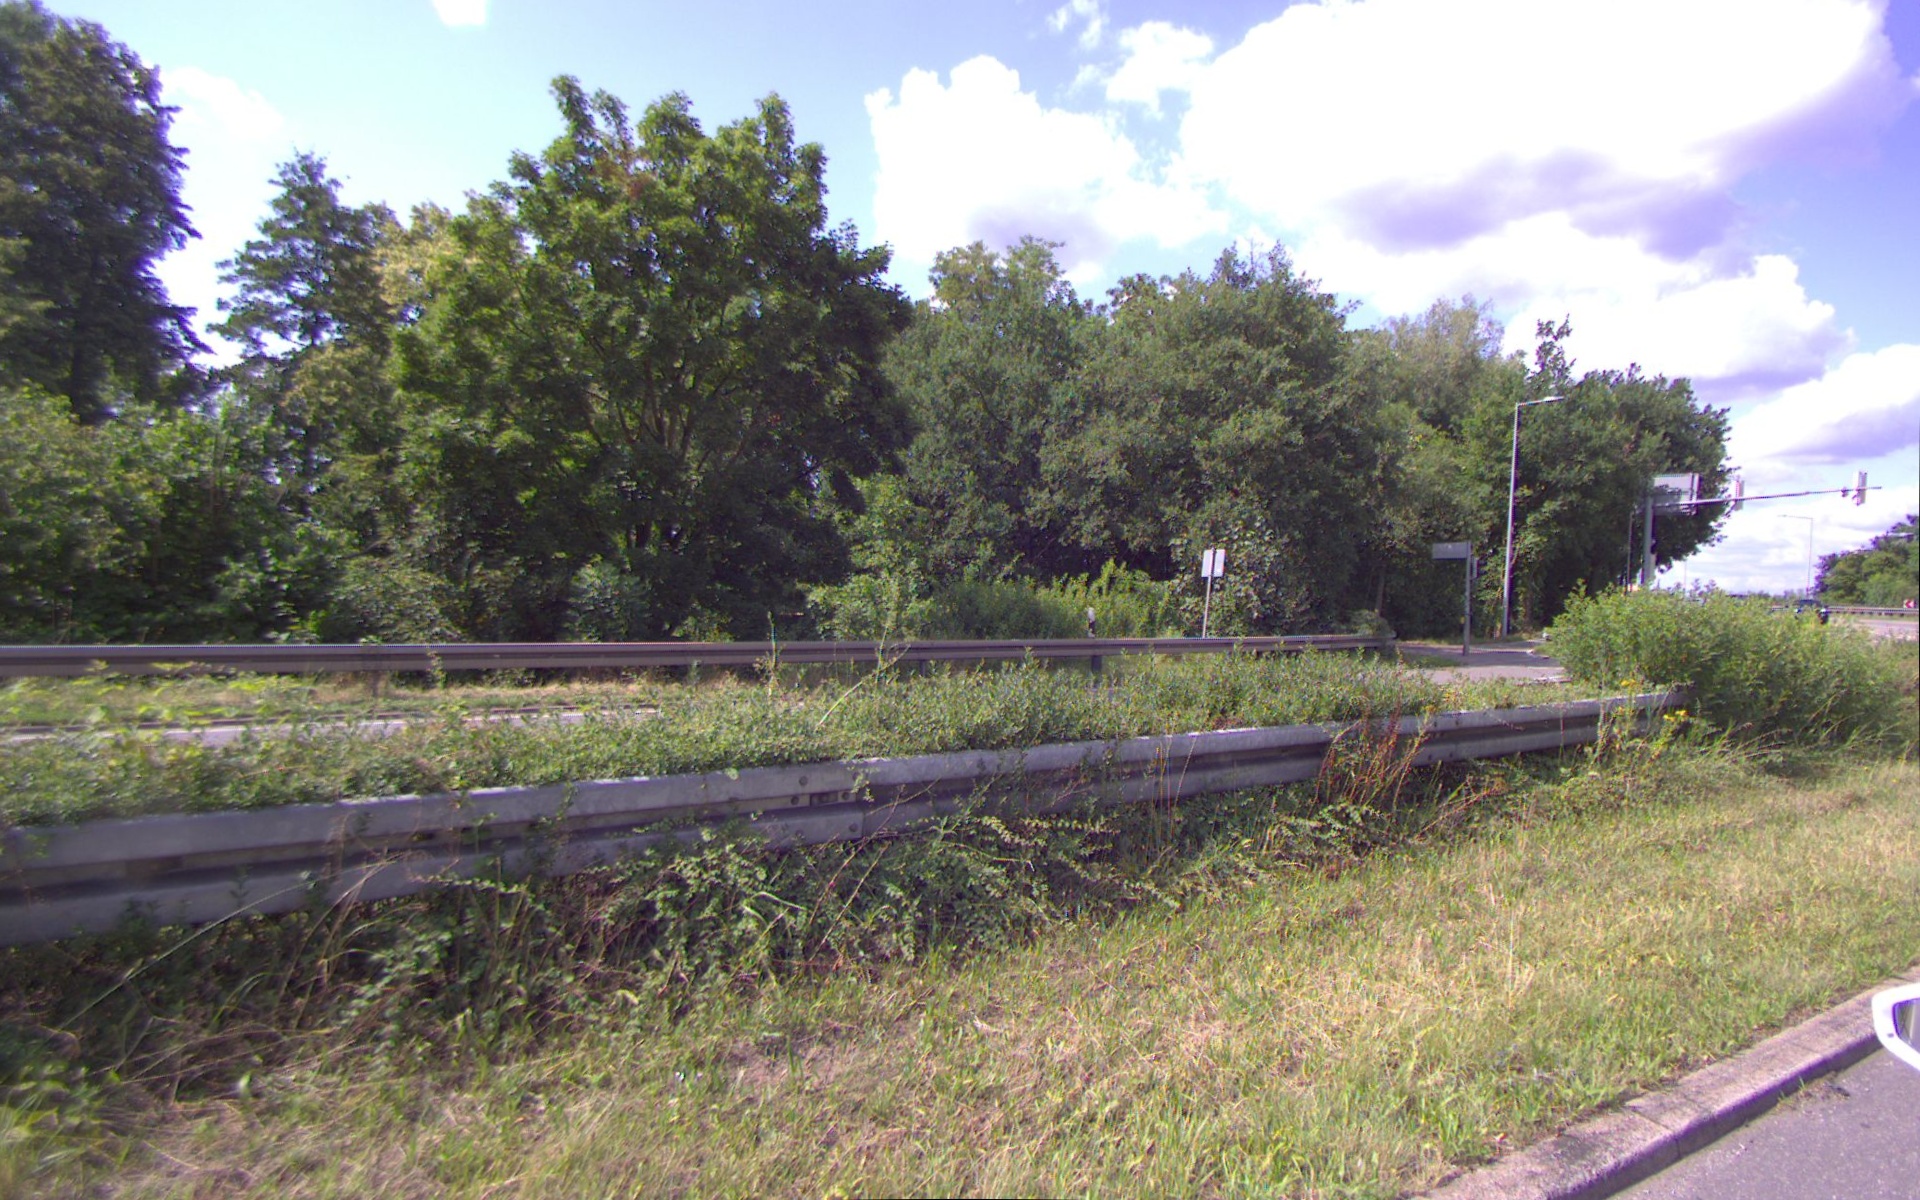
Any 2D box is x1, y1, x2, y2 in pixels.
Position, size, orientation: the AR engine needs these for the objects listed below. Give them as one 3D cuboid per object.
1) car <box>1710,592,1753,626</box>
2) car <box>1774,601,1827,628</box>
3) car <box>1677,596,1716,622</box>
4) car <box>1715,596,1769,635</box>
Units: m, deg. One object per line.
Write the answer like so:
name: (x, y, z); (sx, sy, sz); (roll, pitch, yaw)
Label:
car: (44.217, 0.491, 57.650); (1.819, 1.826, 4.310); (2, 1, 36)
car: (48.231, 0.823, 57.704); (1.921, 1.437, 3.957); (2, 1, 35)
car: (52.158, 0.606, 71.183); (1.817, 1.728, 4.316); (2, 1, 32)
car: (35.426, 0.719, 45.569); (1.815, 1.639, 3.985); (1, -1, 37)
